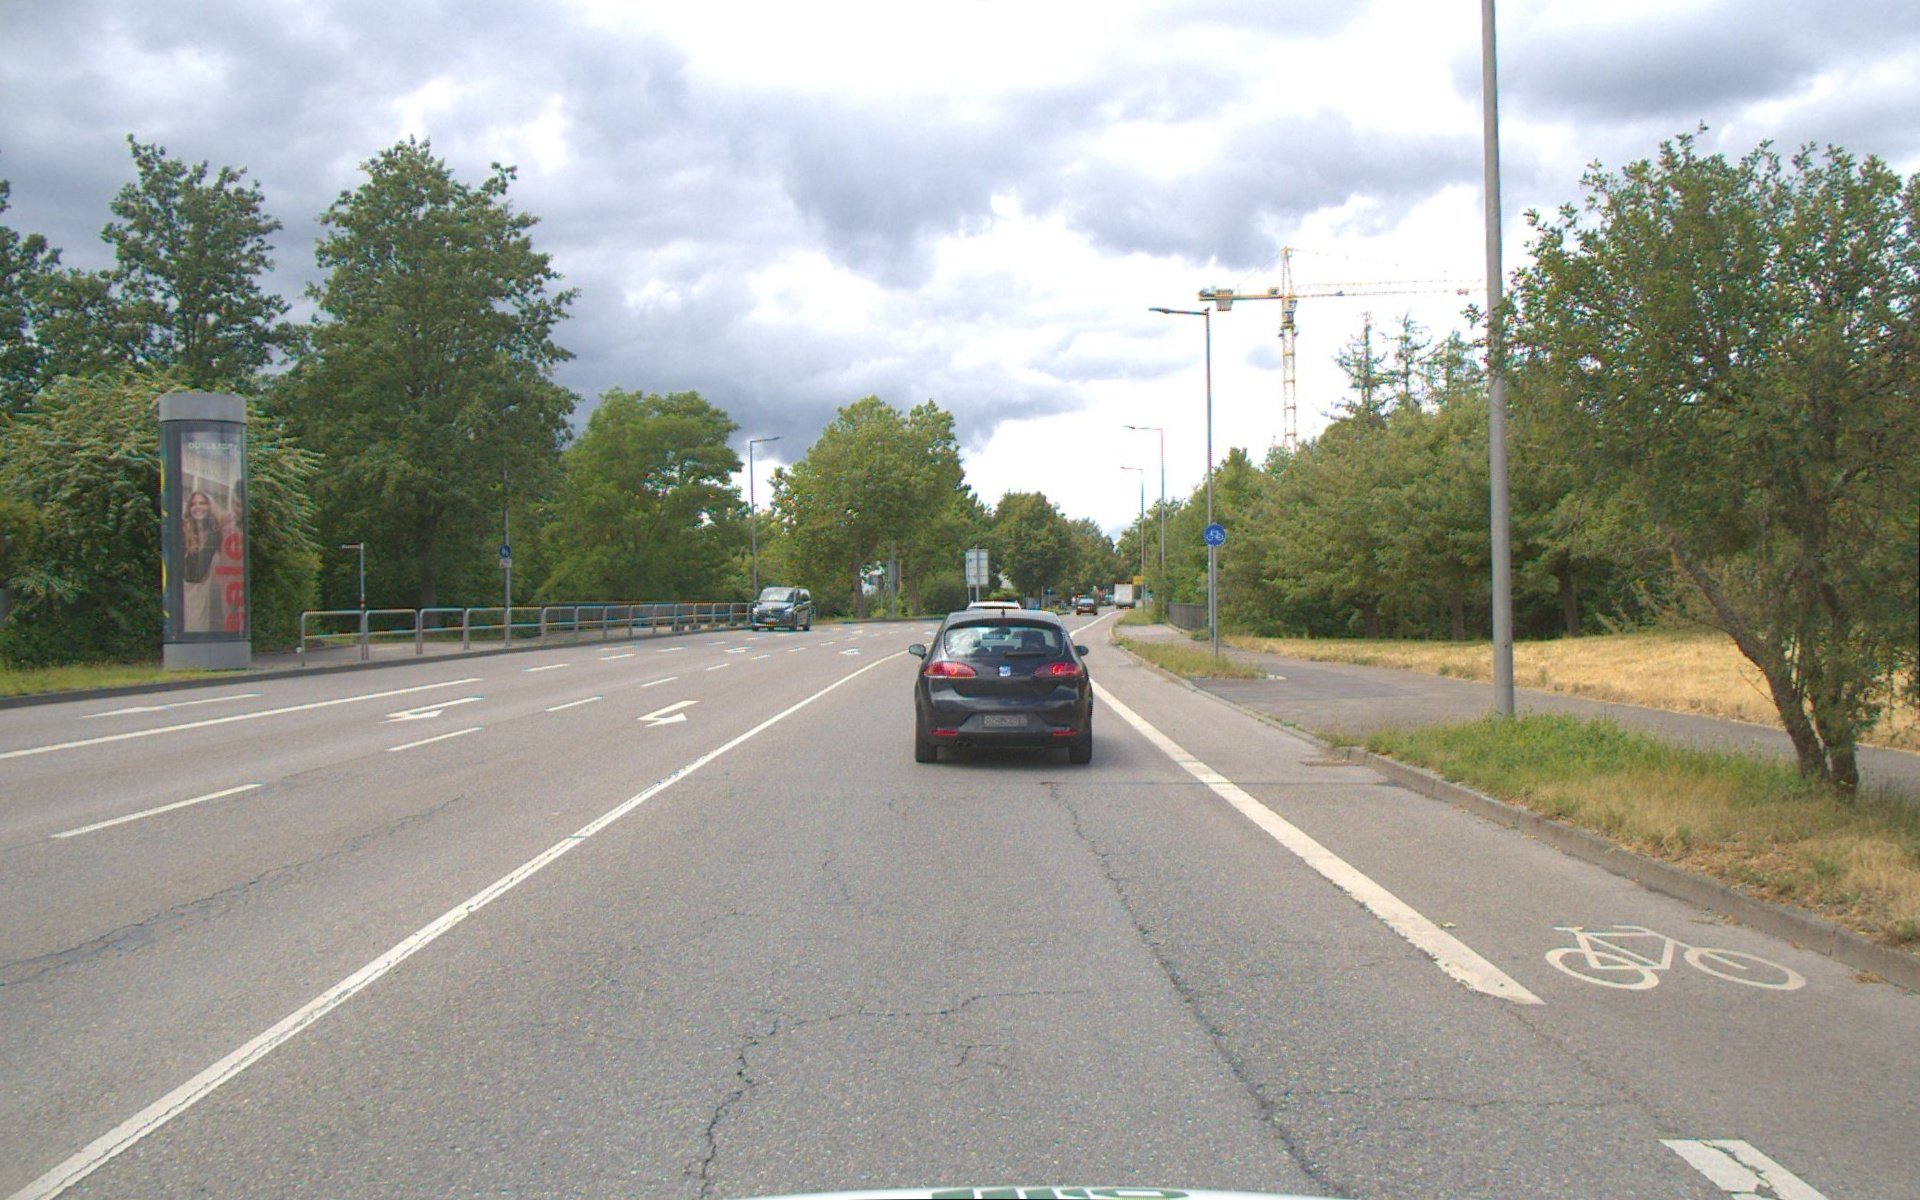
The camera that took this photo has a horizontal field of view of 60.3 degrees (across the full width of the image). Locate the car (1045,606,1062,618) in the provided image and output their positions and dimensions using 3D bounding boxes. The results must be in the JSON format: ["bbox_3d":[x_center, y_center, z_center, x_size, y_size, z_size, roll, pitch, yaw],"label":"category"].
[{"bbox_3d":[11.816,1.492,208.392,1.681,1.419,4.805,-3,0,8],"label":"car"}]

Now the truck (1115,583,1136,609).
[{"bbox_3d":[21.361,-0.490,213.125,2.230,3.158,8.517,1,0,8],"label":"truck"}]

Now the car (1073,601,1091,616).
[{"bbox_3d":[17.445,1.219,236.841,2.055,1.929,5.788,-3,0,8],"label":"car"}]

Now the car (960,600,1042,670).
[{"bbox_3d":[0.992,0.790,38.601,1.807,1.536,3.813,1,0,2],"label":"car"}]

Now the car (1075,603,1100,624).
[{"bbox_3d":[11.098,1.158,144.231,1.841,1.718,4.217,-1,0,8],"label":"car"}]

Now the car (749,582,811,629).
[{"bbox_3d":[-7.797,0.222,72.198,1.976,1.981,5.366,0,0,1],"label":"car"}]

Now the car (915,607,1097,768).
[{"bbox_3d":[0.497,0.799,16.865,1.628,1.426,3.813,1,0,2],"label":"car"}]
